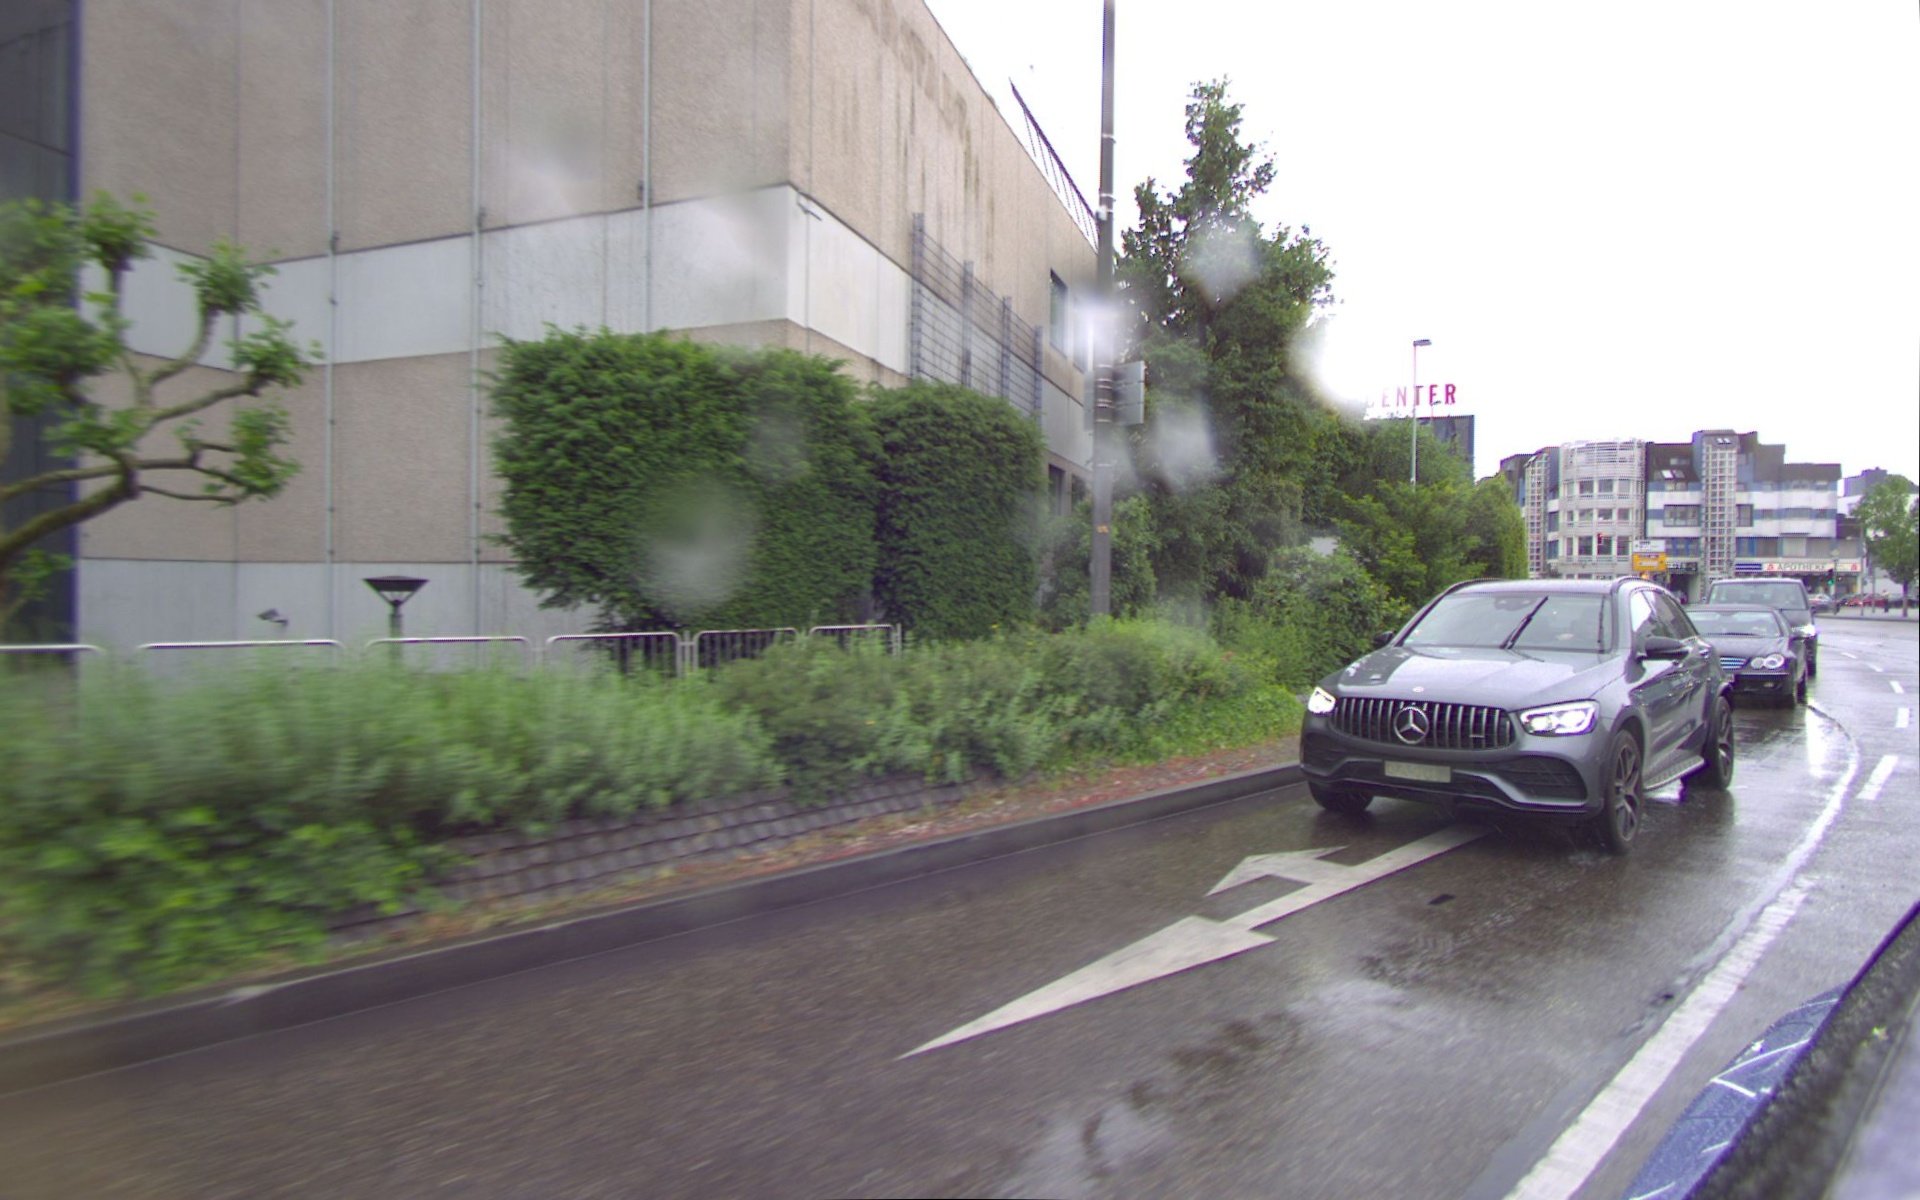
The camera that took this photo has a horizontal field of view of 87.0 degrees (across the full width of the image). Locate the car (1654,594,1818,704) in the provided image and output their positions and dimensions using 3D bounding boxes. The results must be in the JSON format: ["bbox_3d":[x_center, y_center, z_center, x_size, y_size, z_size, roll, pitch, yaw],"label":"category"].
[{"bbox_3d":[11.733,0.617,15.189,1.630,1.403,4.447,0,0,42],"label":"car"}]

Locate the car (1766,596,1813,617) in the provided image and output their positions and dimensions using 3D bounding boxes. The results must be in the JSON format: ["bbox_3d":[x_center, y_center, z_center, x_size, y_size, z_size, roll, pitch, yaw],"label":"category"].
[{"bbox_3d":[57.361,0.457,70.056,1.747,1.445,3.960,0,0,28],"label":"car"}]

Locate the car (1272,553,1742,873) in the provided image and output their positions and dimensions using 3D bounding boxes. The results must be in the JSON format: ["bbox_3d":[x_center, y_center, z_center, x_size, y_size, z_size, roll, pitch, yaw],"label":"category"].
[{"bbox_3d":[4.189,0.560,7.388,1.902,1.641,4.265,0,0,45],"label":"car"}]

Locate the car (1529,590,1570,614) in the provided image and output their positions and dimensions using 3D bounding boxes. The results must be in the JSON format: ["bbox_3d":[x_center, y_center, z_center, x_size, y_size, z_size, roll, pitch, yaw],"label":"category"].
[{"bbox_3d":[40.945,0.118,70.387,1.716,1.616,3.975,0,0,19],"label":"car"}]

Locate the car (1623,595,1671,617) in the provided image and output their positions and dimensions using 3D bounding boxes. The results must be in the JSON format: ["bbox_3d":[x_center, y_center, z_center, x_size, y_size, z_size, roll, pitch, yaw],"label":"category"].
[{"bbox_3d":[48.050,0.406,70.850,1.740,1.470,3.975,0,0,19],"label":"car"}]

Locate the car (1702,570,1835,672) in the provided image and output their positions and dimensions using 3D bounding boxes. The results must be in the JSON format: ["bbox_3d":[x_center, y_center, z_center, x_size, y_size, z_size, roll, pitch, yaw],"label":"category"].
[{"bbox_3d":[16.963,0.353,21.258,1.992,1.918,4.522,0,1,39],"label":"car"}]

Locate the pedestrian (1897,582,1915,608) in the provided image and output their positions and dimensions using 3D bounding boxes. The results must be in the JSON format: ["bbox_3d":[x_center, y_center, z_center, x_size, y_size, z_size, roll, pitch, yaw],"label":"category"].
[{"bbox_3d":[72.645,-0.384,77.736,0.752,2.039,0.857,0,0,24],"label":"pedestrian"}]

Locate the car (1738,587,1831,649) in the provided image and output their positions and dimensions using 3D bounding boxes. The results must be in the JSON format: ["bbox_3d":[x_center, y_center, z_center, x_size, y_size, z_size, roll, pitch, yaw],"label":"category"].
[{"bbox_3d":[22.601,0.442,27.679,1.756,1.569,4.261,-1,0,42],"label":"car"}]
